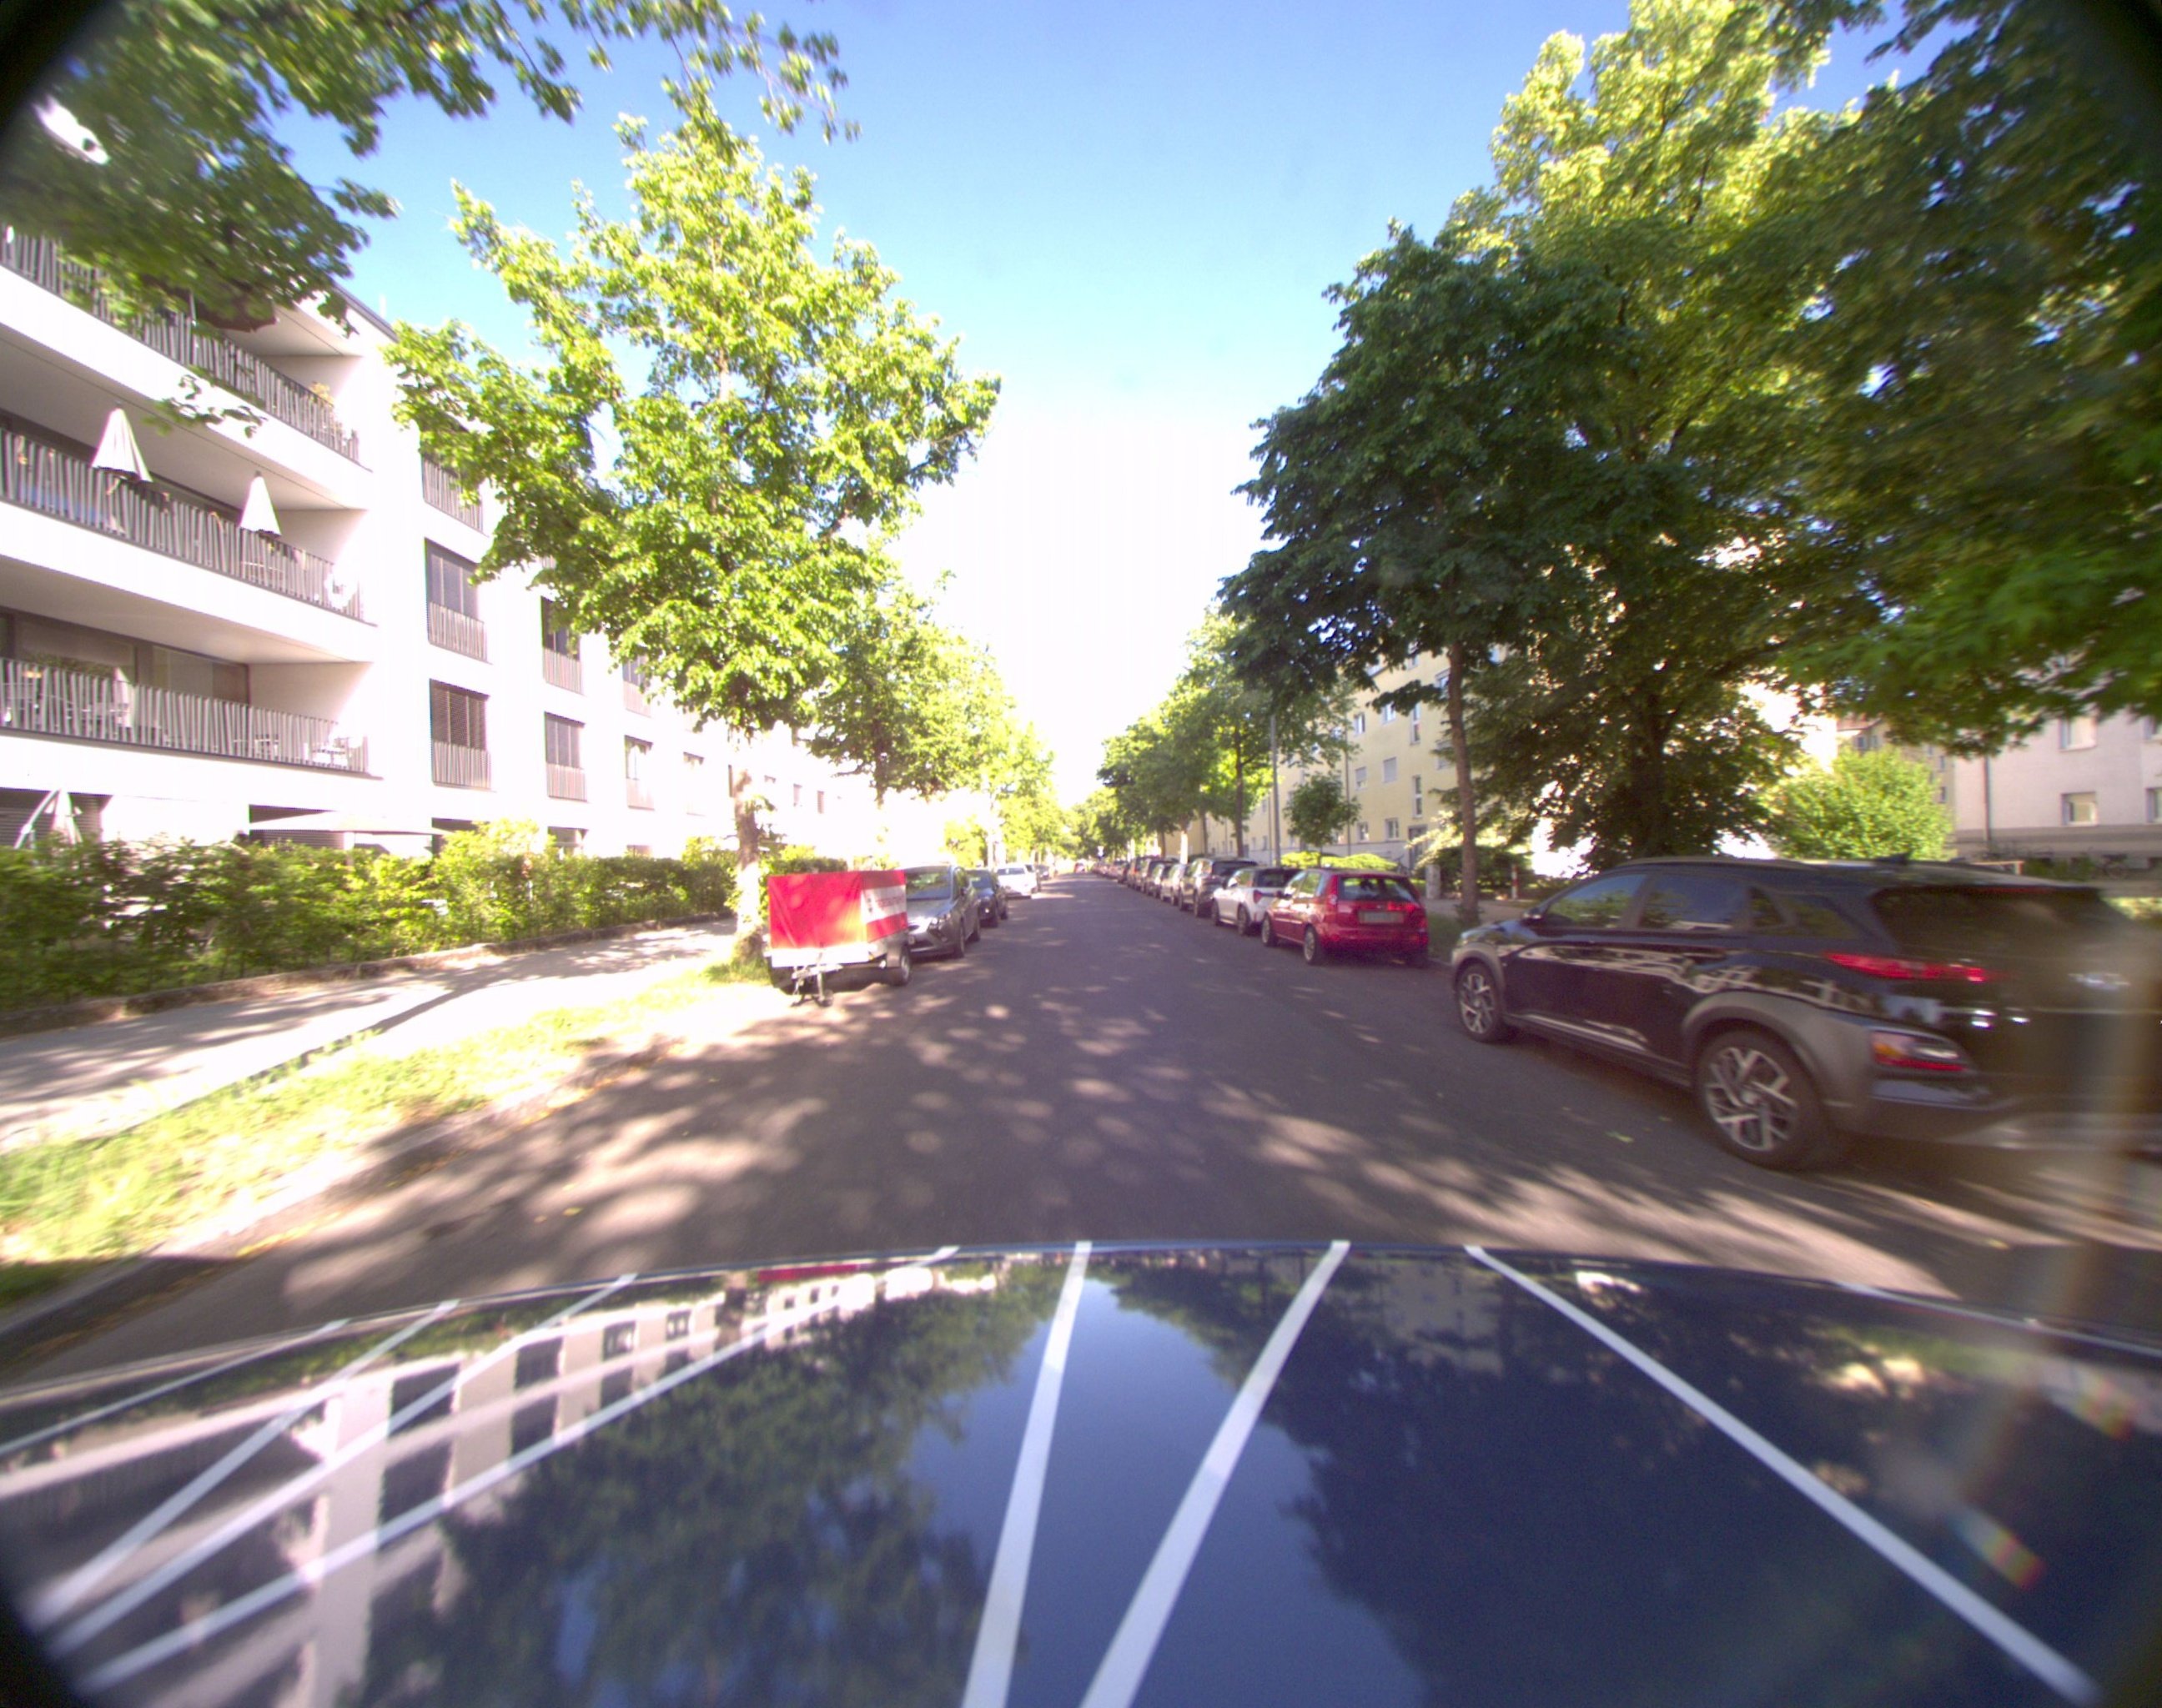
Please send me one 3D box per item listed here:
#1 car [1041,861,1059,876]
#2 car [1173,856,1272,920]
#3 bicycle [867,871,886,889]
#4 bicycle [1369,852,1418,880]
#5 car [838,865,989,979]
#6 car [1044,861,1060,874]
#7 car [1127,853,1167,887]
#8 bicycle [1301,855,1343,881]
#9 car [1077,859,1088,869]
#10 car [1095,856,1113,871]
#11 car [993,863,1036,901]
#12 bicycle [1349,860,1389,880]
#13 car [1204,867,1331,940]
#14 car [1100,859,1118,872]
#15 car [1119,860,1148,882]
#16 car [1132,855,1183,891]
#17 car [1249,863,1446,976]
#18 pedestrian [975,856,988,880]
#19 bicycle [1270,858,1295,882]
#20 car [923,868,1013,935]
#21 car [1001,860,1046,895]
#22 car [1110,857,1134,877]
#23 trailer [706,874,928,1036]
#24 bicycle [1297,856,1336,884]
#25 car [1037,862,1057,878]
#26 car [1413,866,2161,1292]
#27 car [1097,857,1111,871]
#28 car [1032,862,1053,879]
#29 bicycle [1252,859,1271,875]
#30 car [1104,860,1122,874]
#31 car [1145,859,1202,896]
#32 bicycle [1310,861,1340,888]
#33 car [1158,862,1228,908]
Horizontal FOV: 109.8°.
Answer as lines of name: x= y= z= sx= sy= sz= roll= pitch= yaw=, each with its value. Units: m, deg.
car: x=-3.165 y=1.472 z=78.066 sx=1.670 sy=1.456 sz=3.674 roll=-1 pitch=0 yaw=1
car: x=3.981 y=0.901 z=22.257 sx=1.846 sy=1.647 sz=5.087 roll=-1 pitch=0 yaw=-1
bicycle: x=-11.377 y=1.440 z=42.276 sx=0.564 sy=0.889 sz=1.609 roll=-2 pitch=0 yaw=0
bicycle: x=14.647 y=0.573 z=35.685 sx=1.957 sy=1.218 sz=0.777 roll=-2 pitch=0 yaw=-3
car: x=-2.941 y=1.115 z=14.434 sx=1.797 sy=1.633 sz=4.818 roll=-4 pitch=0 yaw=-1
car: x=-3.352 y=1.523 z=87.921 sx=1.670 sy=1.456 sz=3.536 roll=-1 pitch=0 yaw=1
car: x=3.724 y=0.888 z=43.587 sx=1.798 sy=1.839 sz=4.866 roll=-1 pitch=0 yaw=-1
bicycle: x=11.899 y=0.705 z=37.538 sx=1.826 sy=1.218 sz=0.517 roll=-2 pitch=0 yaw=0
car: x=0.194 y=1.560 z=116.300 sx=1.665 sy=1.456 sz=3.447 roll=-1 pitch=0 yaw=1
car: x=2.913 y=1.250 z=96.651 sx=1.891 sy=1.797 sz=3.913 roll=-2 pitch=0 yaw=-5
car: x=-3.060 y=1.235 z=34.973 sx=1.786 sy=1.509 sz=4.685 roll=-2 pitch=0 yaw=-5
bicycle: x=14.178 y=0.785 z=37.412 sx=1.713 sy=0.864 sz=0.585 roll=-2 pitch=0 yaw=0
car: x=4.003 y=1.000 z=16.980 sx=1.658 sy=1.365 sz=4.188 roll=-1 pitch=0 yaw=-2
car: x=3.326 y=1.403 z=91.220 sx=1.805 sy=1.470 sz=3.999 roll=-2 pitch=0 yaw=-4
car: x=3.697 y=1.187 z=54.296 sx=1.780 sy=1.462 sz=4.063 roll=1 pitch=0 yaw=0
car: x=3.796 y=0.921 z=38.285 sx=1.799 sy=1.676 sz=4.525 roll=-1 pitch=0 yaw=-4
car: x=4.109 y=0.920 z=12.461 sx=1.658 sy=1.496 sz=4.068 roll=-1 pitch=0 yaw=-2
pedestrian: x=-8.443 y=1.168 z=64.533 sx=0.907 sy=2.002 sz=1.006 roll=-1 pitch=0 yaw=0
bicycle: x=10.148 y=0.799 z=38.318 sx=0.596 sy=1.182 sz=2.260 roll=-1 pitch=0 yaw=-2
car: x=-2.941 y=1.193 z=20.611 sx=1.722 sy=1.507 sz=4.344 roll=-2 pitch=0 yaw=0
car: x=-3.019 y=1.206 z=40.771 sx=1.902 sy=1.638 sz=4.862 roll=-2 pitch=0 yaw=1
car: x=3.533 y=1.111 z=66.074 sx=1.864 sy=1.717 sz=4.000 roll=0 pitch=0 yaw=0
trailer: x=-3.171 y=1.134 z=9.789 sx=1.578 sy=1.569 sz=3.192 roll=-4 pitch=0 yaw=1
bicycle: x=10.935 y=0.748 z=35.323 sx=1.640 sy=1.218 sz=0.517 roll=-2 pitch=0 yaw=-10
car: x=-3.229 y=1.489 z=72.589 sx=1.670 sy=1.456 sz=3.536 roll=-1 pitch=0 yaw=1
car: x=4.095 y=0.901 z=5.166 sx=1.710 sy=1.568 sz=4.481 roll=-1 pitch=0 yaw=0
car: x=3.042 y=1.327 z=101.562 sx=1.713 sy=1.752 sz=3.712 roll=-2 pitch=0 yaw=-2
car: x=-3.428 y=1.465 z=67.805 sx=1.670 sy=1.456 sz=3.536 roll=-1 pitch=0 yaw=1
bicycle: x=10.535 y=0.738 z=44.410 sx=0.596 sy=0.911 sz=1.903 roll=-1 pitch=0 yaw=-2
car: x=3.305 y=1.373 z=79.759 sx=1.606 sy=1.382 sz=3.812 roll=-2 pitch=0 yaw=-1
car: x=3.883 y=0.943 z=32.583 sx=1.798 sy=1.443 sz=4.489 roll=-1 pitch=0 yaw=-2
bicycle: x=10.152 y=0.851 z=31.661 sx=0.573 sy=1.055 sz=1.933 roll=-2 pitch=0 yaw=0
car: x=3.951 y=1.057 z=27.561 sx=1.711 sy=1.472 sz=4.489 roll=-1 pitch=0 yaw=-2
